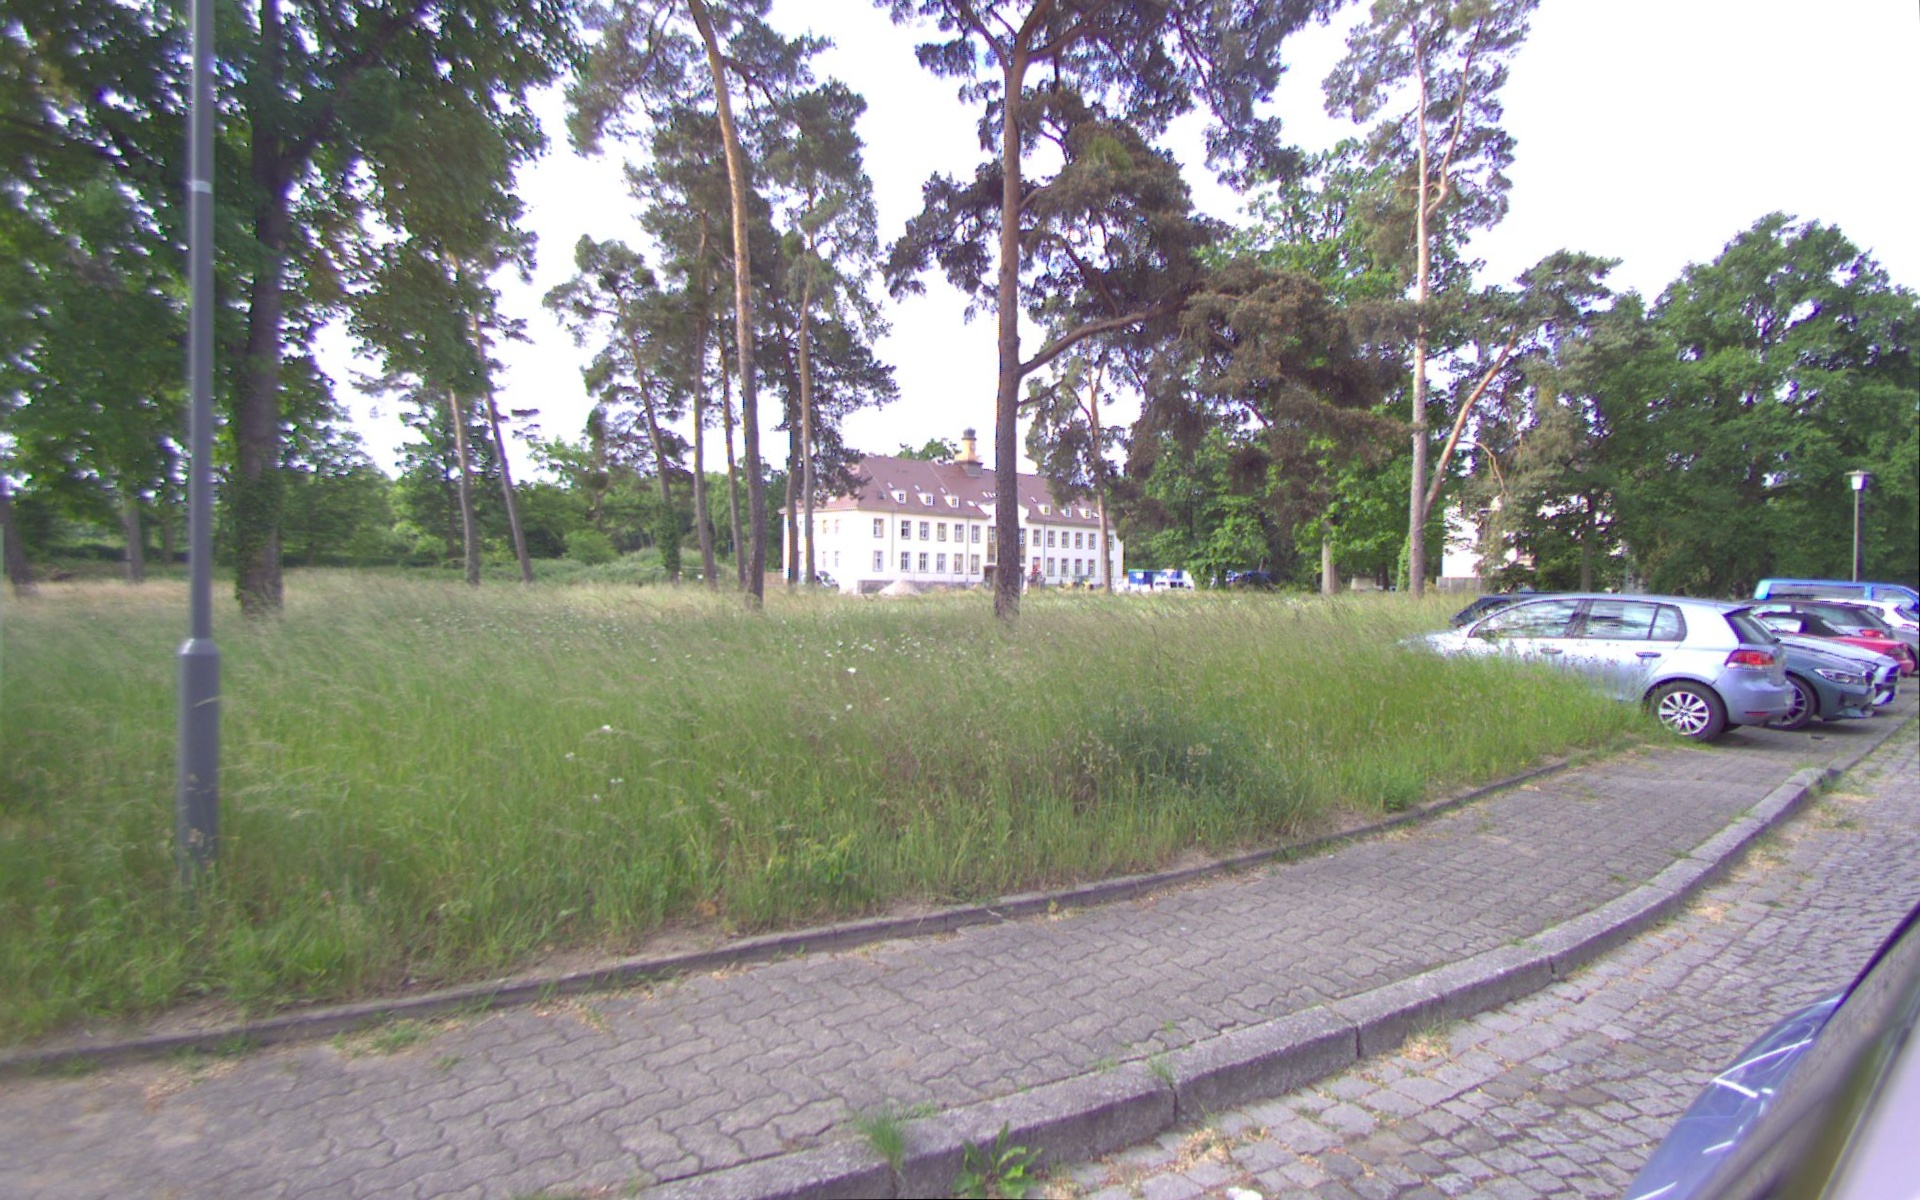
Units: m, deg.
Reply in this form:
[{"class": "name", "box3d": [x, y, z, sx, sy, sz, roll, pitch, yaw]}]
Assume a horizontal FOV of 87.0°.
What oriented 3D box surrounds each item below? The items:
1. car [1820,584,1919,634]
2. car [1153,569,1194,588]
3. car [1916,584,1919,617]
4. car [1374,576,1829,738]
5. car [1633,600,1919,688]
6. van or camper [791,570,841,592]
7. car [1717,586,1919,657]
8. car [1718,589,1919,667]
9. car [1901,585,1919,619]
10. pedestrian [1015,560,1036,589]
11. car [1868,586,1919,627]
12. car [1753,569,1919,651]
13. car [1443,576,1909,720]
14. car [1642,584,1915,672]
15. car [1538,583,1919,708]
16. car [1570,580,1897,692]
[{"class": "car", "box3d": [30.820, 0.281, 32.959, 1.836, 1.523, 3.997, 0, 2, -39]}, {"class": "car", "box3d": [23.701, -2.352, 112.467, 4.754, 2.038, 2.163, 0, 2, -44]}, {"class": "car", "box3d": [49.315, 0.093, 49.259, 1.964, 1.645, 3.790, 0, 2, -40]}, {"class": "car", "box3d": [7.035, 0.485, 11.435, 1.765, 1.436, 3.995, 0, 2, -40]}, {"class": "car", "box3d": [14.527, 0.694, 18.000, 1.765, 1.250, 3.931, 0, 2, -40]}, {"class": "van or camper", "box3d": [-16.026, -2.149, 112.543, 2.424, 2.335, 6.114, 0, 2, -43]}, {"class": "car", "box3d": [20.430, 0.453, 23.802, 1.765, 1.467, 3.931, 0, 2, -41]}, {"class": "car", "box3d": [18.561, 0.539, 21.269, 1.765, 1.453, 3.931, 0, 2, -41]}, {"class": "car", "box3d": [45.920, 0.128, 46.454, 1.964, 1.589, 3.790, 0, 2, -40]}, {"class": "pedestrian", "box3d": [4.958, -1.963, 77.150, 1.037, 2.204, 1.183, 0, 1, -41]}, {"class": "car", "box3d": [38.372, 0.275, 39.692, 1.967, 1.589, 3.990, 0, 2, -44]}, {"class": "car", "box3d": [24.415, 0.230, 26.947, 1.963, 2.038, 4.843, 0, 2, -37]}, {"class": "car", "box3d": [8.980, 0.459, 13.081, 1.765, 1.463, 4.627, 0, 2, -41]}, {"class": "car", "box3d": [16.066, 0.468, 20.020, 1.765, 1.494, 3.931, 0, 2, -40]}, {"class": "car", "box3d": [11.083, 0.531, 14.738, 1.764, 1.463, 4.267, 0, 2, -39]}, {"class": "car", "box3d": [12.515, 0.483, 16.578, 1.764, 1.531, 3.933, 0, 2, -39]}]
